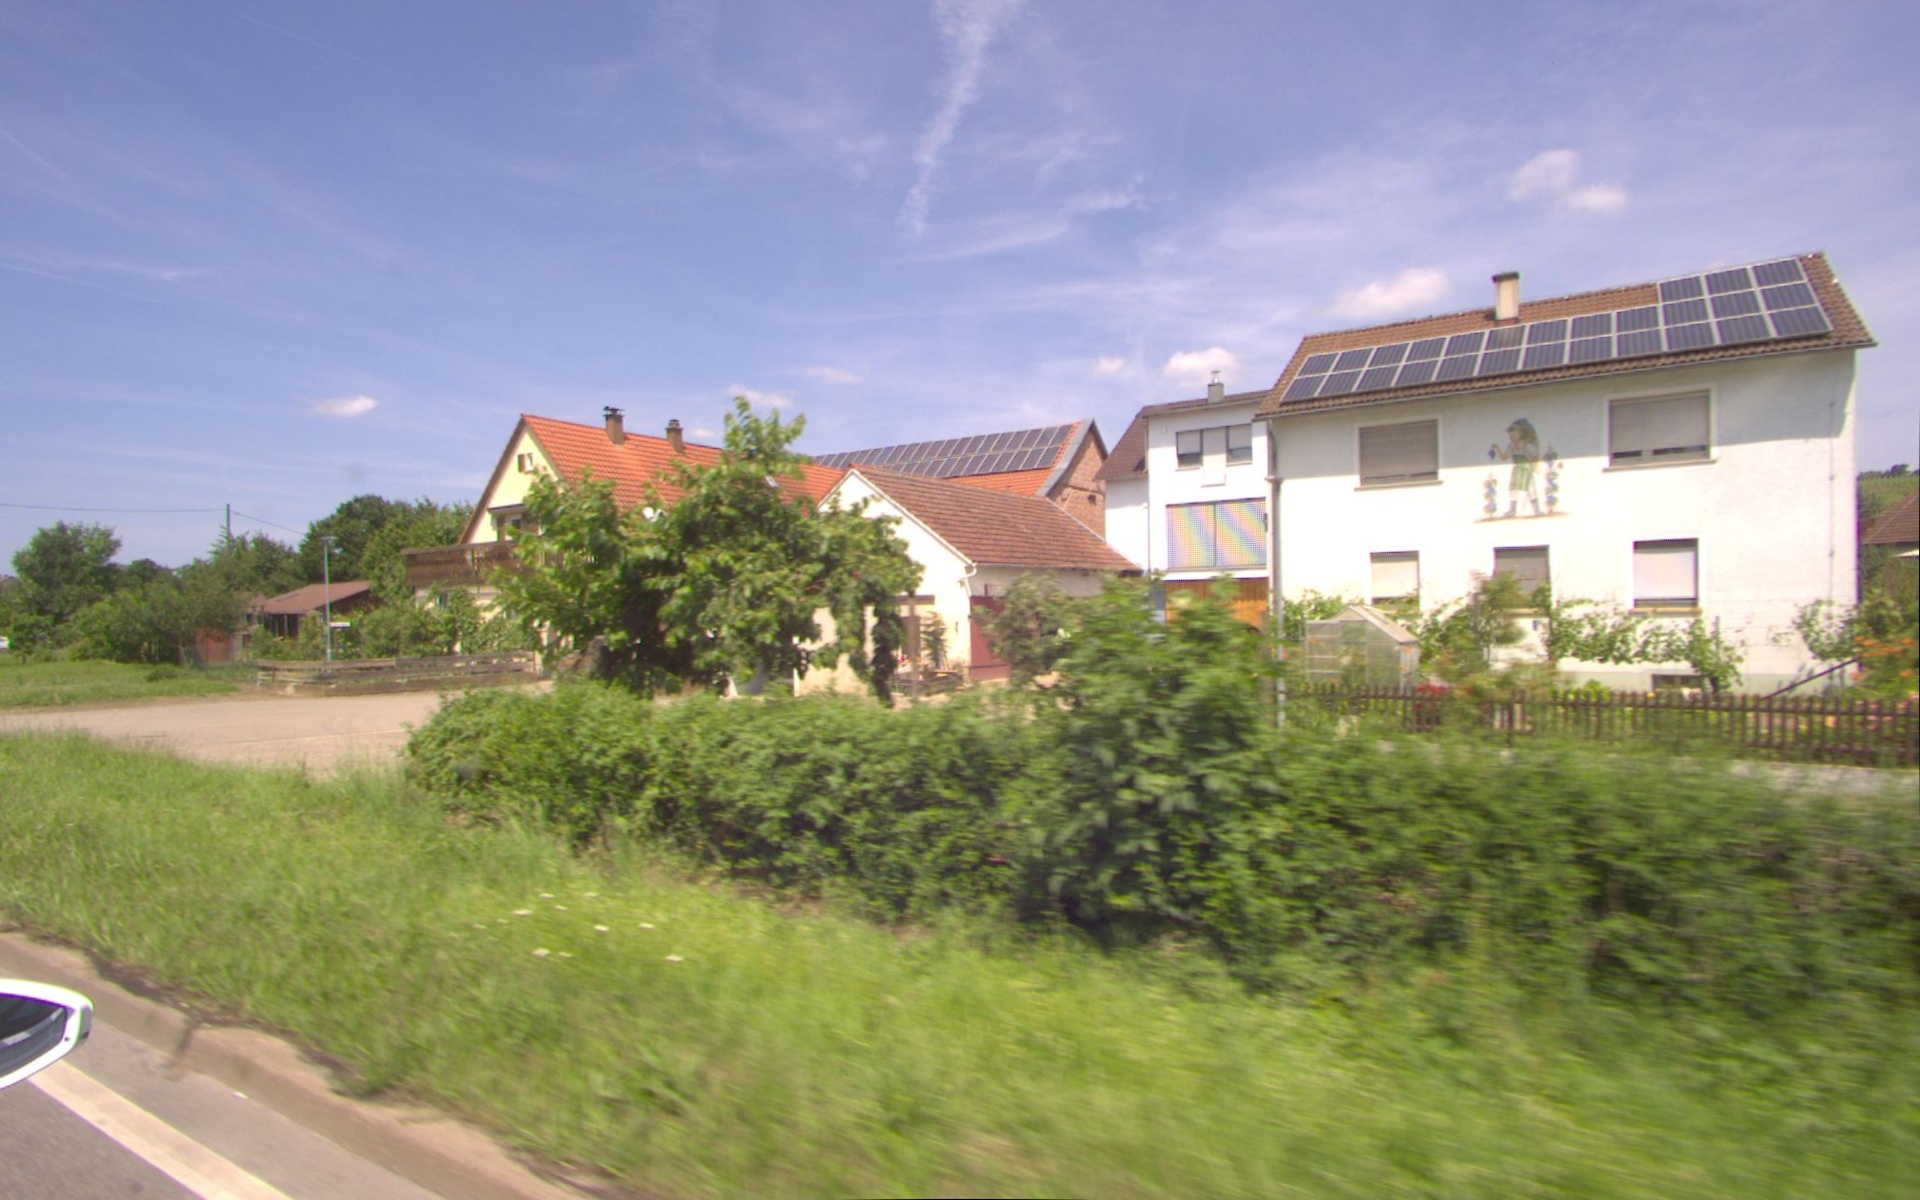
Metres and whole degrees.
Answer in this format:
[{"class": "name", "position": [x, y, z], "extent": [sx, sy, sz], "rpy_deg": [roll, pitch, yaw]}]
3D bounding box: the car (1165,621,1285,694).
[{"class": "car", "position": [7.167, 1.478, 26.842], "extent": [1.820, 1.715, 3.936], "rpy_deg": [-2, -1, 35]}]

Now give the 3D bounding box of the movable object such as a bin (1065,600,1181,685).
[{"class": "movable object such as a bin", "position": [4.986, 1.203, 30.410], "extent": [2.051, 2.375, 3.697], "rpy_deg": [1, 1, 36]}]

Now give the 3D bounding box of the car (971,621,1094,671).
[{"class": "car", "position": [2.508, 1.579, 34.875], "extent": [3.946, 1.638, 1.750], "rpy_deg": [-2, -2, 34]}]

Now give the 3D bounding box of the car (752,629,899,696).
[{"class": "car", "position": [-3.573, 1.644, 27.217], "extent": [1.809, 1.599, 3.977], "rpy_deg": [-1, -1, 33]}]
